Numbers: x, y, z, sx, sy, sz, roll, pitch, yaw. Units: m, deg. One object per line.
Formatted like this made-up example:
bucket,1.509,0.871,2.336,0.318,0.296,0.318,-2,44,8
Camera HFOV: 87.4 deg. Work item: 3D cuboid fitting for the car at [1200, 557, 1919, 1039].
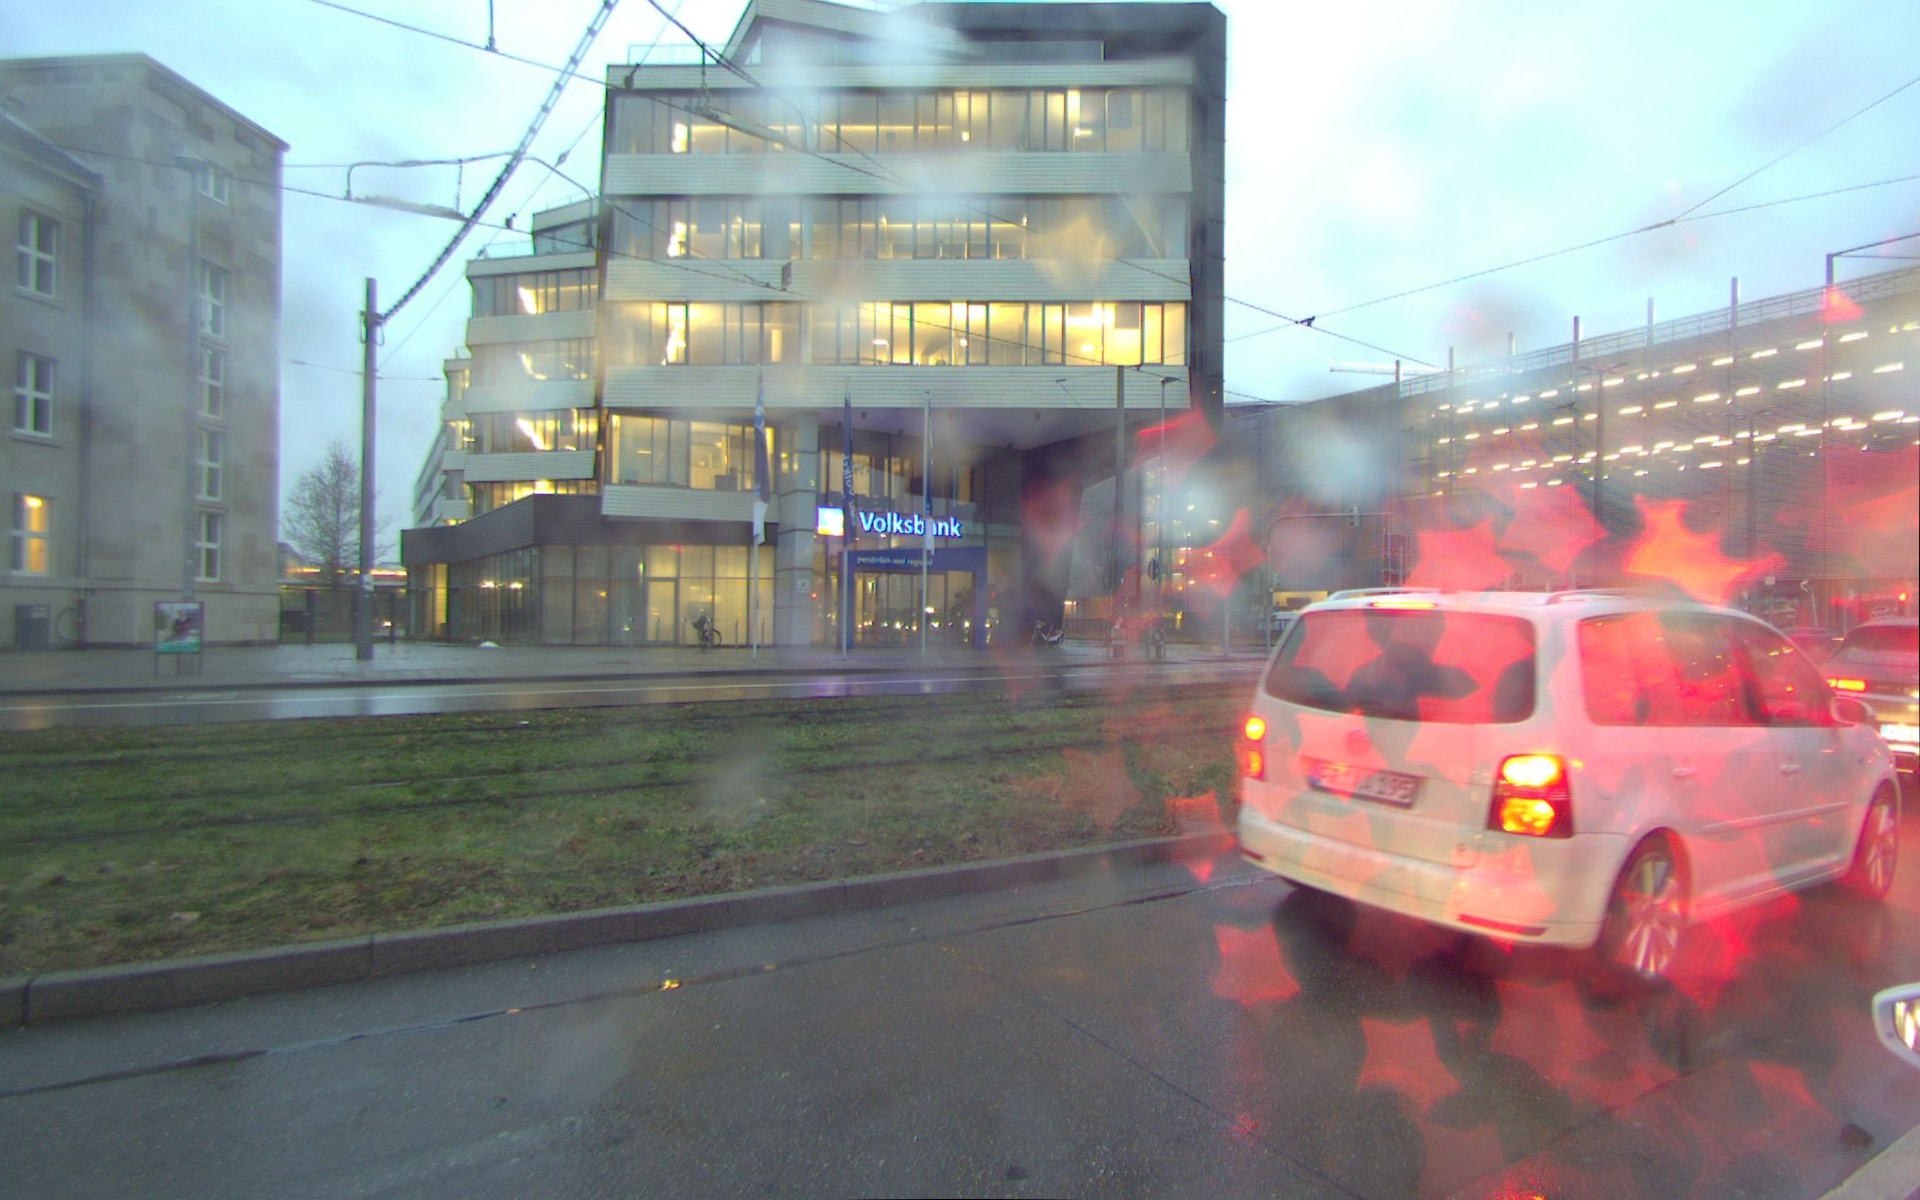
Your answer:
car,3.353,0.690,5.309,4.102,1.682,1.660,1,1,-33

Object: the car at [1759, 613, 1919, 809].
car,9.329,0.949,9.465,3.959,1.595,1.742,1,-1,-34

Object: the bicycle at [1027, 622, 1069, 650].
bicycle,3.529,1.437,40.110,1.588,1.105,0.553,1,-1,-23

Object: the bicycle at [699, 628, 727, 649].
bicycle,-8.615,1.346,35.065,0.896,0.724,0.483,1,-1,-10

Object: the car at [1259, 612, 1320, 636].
car,27.997,2.014,85.401,1.782,2.027,4.806,1,-1,-36

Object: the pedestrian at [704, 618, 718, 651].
pedestrian,-8.527,1.185,34.362,0.380,1.103,0.325,0,-1,5
